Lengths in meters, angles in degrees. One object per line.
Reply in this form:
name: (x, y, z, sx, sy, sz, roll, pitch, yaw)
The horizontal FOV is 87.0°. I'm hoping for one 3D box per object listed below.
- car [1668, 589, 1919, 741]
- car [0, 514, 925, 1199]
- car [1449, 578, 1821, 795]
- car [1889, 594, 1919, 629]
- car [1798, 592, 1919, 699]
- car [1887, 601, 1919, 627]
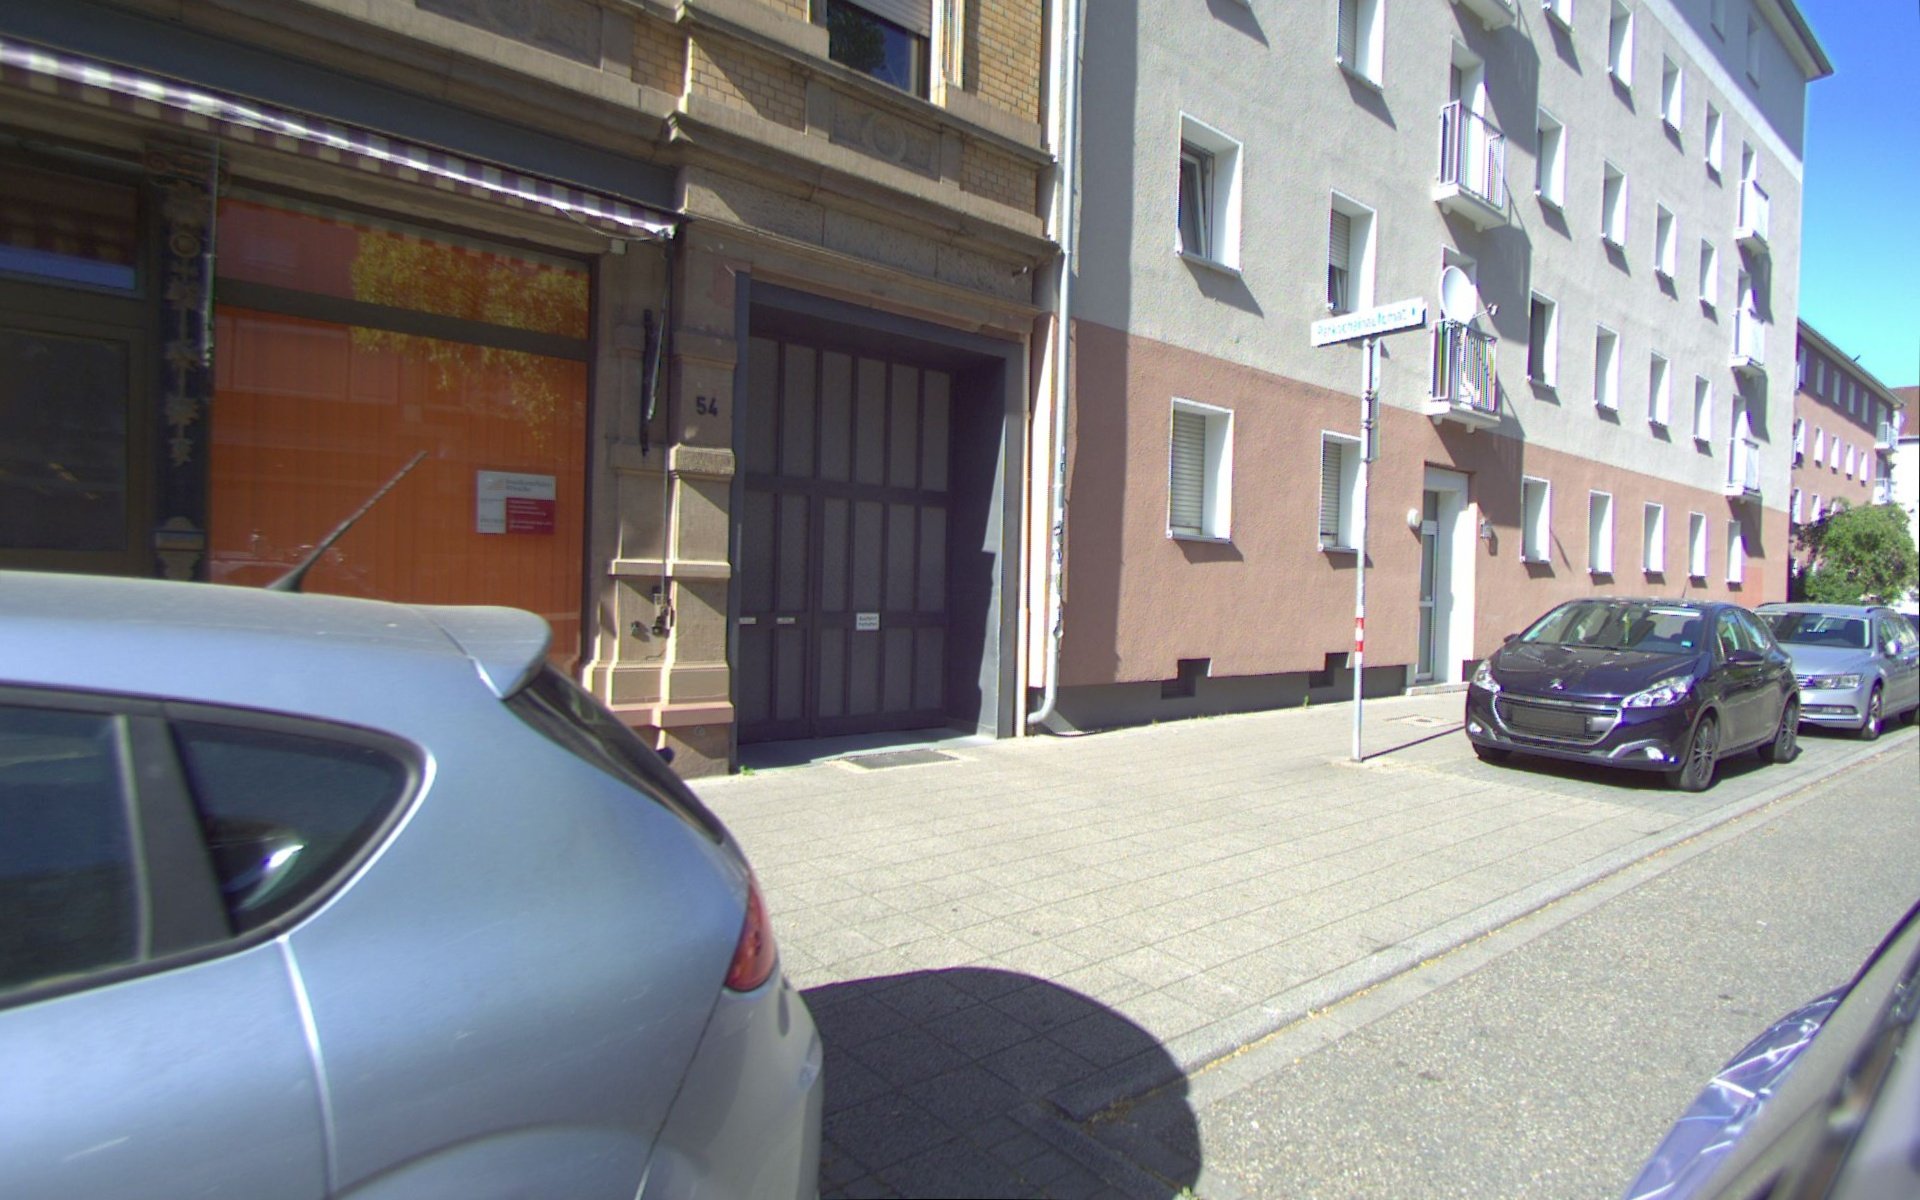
car: (10.541, 0.665, 12.351, 4.432, 1.478, 1.791, 0, 2, -37)
car: (-2.121, 0.631, 0.899, 3.929, 1.469, 1.742, 0, 1, -40)
car: (6.030, 0.595, 8.907, 3.644, 1.498, 1.713, 0, 1, -39)
car: (58.937, 0.735, 60.605, 1.966, 2.039, 4.749, 1, 1, -43)
car: (15.328, 0.687, 16.618, 3.727, 1.504, 1.735, 0, 3, -40)
car: (54.942, 0.836, 57.124, 1.539, 1.420, 3.648, 1, 1, -38)
